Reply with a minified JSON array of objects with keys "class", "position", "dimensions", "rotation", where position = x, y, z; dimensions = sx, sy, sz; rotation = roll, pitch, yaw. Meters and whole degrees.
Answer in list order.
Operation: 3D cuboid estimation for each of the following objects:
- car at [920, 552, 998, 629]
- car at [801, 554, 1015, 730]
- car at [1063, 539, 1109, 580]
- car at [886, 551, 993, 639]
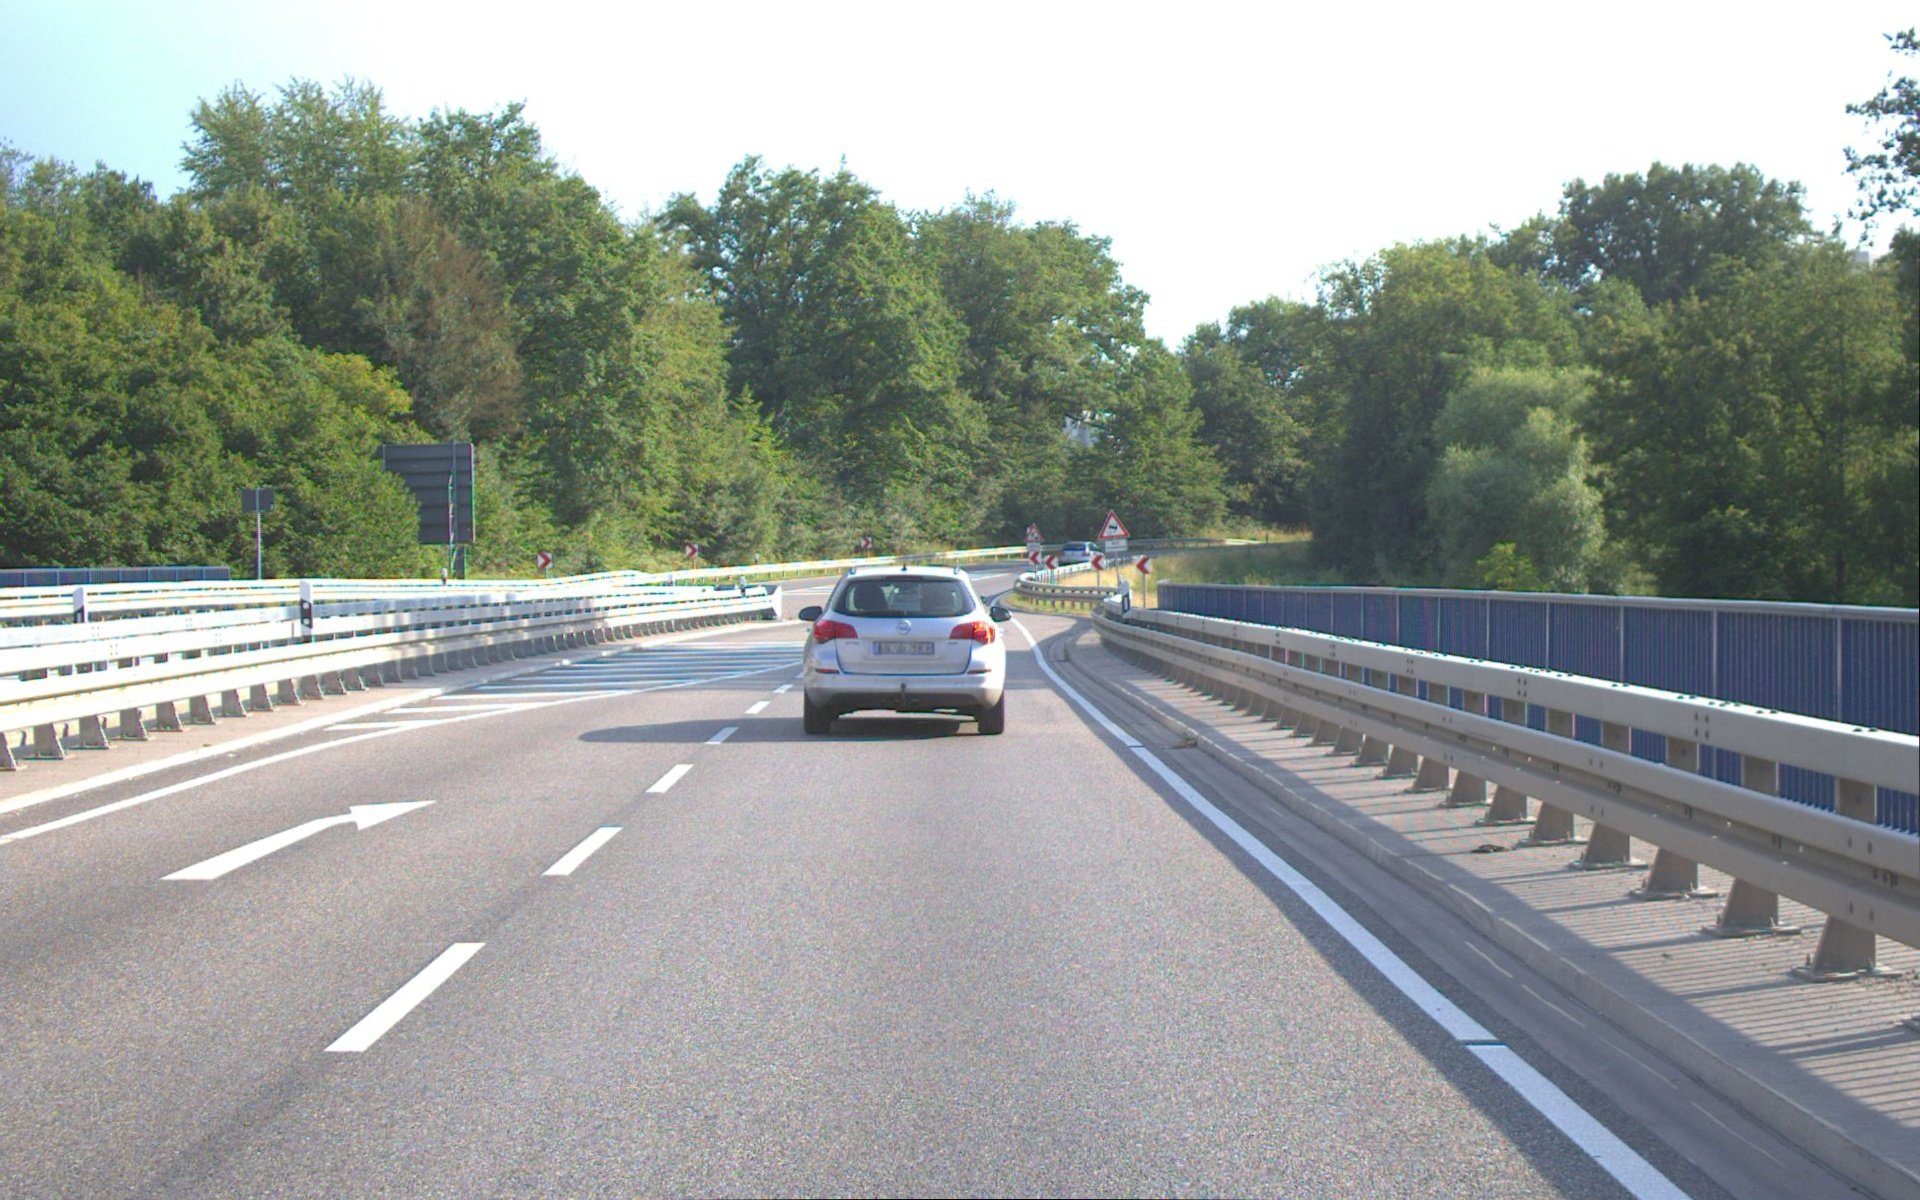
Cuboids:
[{"class":"car","position":[-0.039,-0.252,92.452],"dimensions":[1.993,2.007,4.000],"rotation":[1,0,-1]},{"class":"car","position":[-0.483,0.365,31.392],"dimensions":[1.809,1.481,4.000],"rotation":[1,0,-1]},{"class":"car","position":[6.450,-2.075,175.799],"dimensions":[1.994,2.007,3.999],"rotation":[1,0,7]},{"class":"car","position":[-0.385,-0.079,60.553],"dimensions":[1.809,1.481,4.000],"rotation":[1,0,-1]}]
